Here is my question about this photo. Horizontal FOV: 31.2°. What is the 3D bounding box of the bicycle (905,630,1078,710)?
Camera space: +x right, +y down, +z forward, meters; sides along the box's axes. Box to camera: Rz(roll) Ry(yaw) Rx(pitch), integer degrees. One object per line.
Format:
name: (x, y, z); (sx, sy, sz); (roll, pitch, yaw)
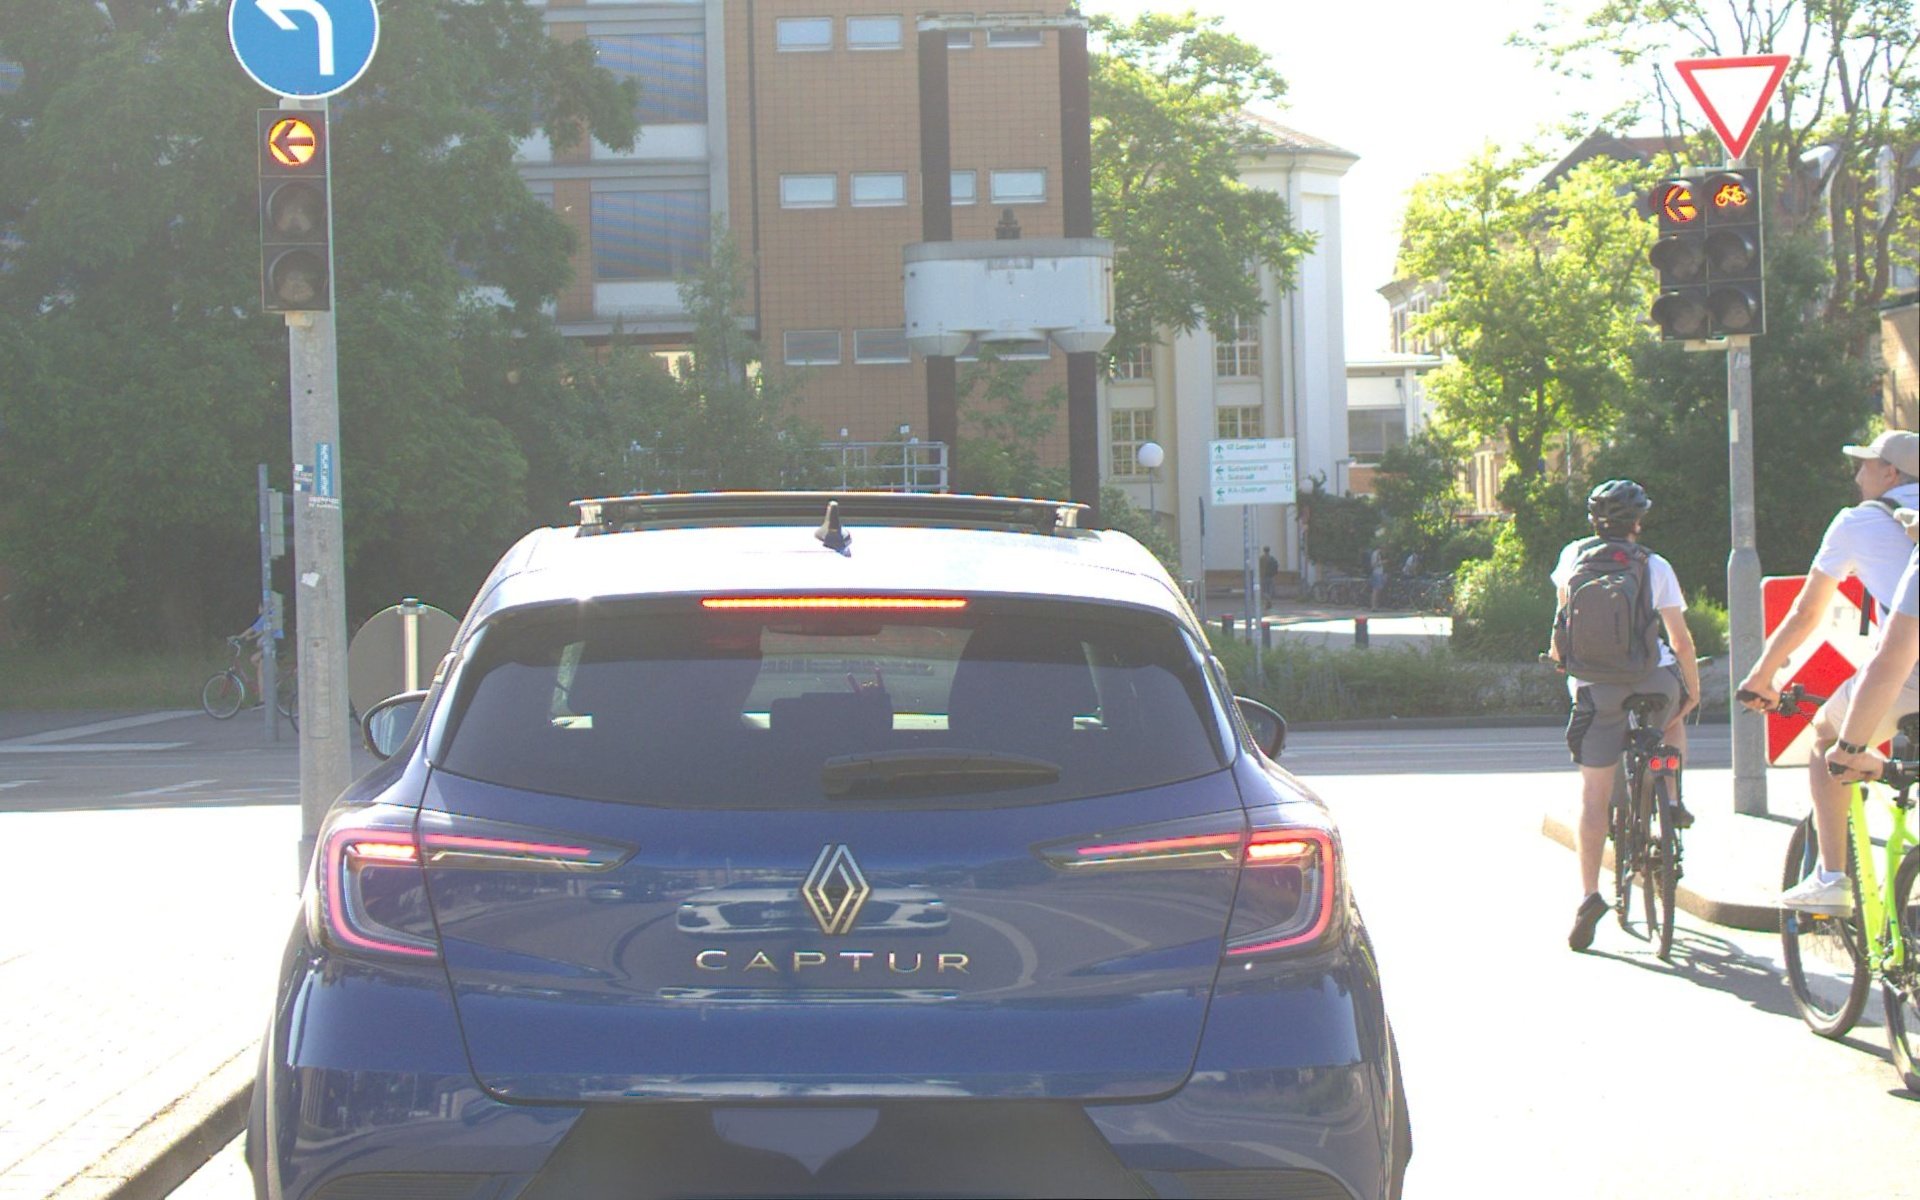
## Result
bicycle: (0.401, 0.887, 43.802); (2.082, 0.927, 0.696); (-2, 2, 11)

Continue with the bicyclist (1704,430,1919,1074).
bicyclist: (2.620, 0.408, 9.814); (0.645, 1.733, 1.067); (1, 0, -6)

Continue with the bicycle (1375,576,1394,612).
bicycle: (11.610, -0.169, 94.040); (0.405, 0.969, 1.683); (1, 1, 4)

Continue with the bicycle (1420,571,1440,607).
bicycle: (12.913, -0.298, 94.420); (0.405, 0.969, 1.683); (1, 1, 4)

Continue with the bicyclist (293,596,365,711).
bicyclist: (-8.036, 0.675, 43.790); (0.737, 1.436, 0.598); (-2, 1, -27)

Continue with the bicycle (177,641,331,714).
bicycle: (-9.764, 1.071, 47.535); (2.078, 0.961, 0.598); (-1, 1, 21)

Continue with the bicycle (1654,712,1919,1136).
bicycle: (2.610, 0.867, 9.825); (0.659, 0.999, 1.970); (1, 1, -6)

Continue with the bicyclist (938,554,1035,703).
bicyclist: (0.340, 0.360, 43.819); (1.102, 1.861, 0.652); (-1, 1, 10)

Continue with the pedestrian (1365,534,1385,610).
pedestrian: (10.977, -0.751, 91.046); (0.475, 2.007, 0.523); (-1, 1, 6)

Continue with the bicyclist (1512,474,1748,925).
bicyclist: (2.506, 0.356, 12.949); (0.726, 1.623, 0.969); (1, 0, 4)

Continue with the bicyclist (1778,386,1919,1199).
bicyclist: (2.230, 0.411, 7.248); (0.751, 1.663, 1.016); (1, 0, 1)

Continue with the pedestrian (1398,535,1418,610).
pedestrian: (12.034, -0.750, 92.398); (0.475, 2.007, 0.468); (-1, 1, 6)

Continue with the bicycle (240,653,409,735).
bicycle: (-8.084, 1.189, 43.773); (2.005, 0.961, 0.598); (-2, 1, -27)

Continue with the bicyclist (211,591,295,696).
bicyclist: (-9.775, 0.606, 47.532); (0.937, 1.424, 0.598); (-1, 1, 21)

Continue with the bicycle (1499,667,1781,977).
bicycle: (2.508, 0.783, 12.905); (0.739, 0.992, 2.173); (1, 1, 3)

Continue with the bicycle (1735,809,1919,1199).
bicycle: (2.226, 0.963, 7.260); (0.740, 0.893, 1.978); (1, 1, 1)

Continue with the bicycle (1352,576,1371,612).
bicycle: (10.988, -0.178, 94.084); (0.405, 0.969, 1.683); (1, 1, 4)

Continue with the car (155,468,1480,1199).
car: (-0.270, 0.615, 6.700); (1.803, 1.626, 4.000); (0, 1, -2)

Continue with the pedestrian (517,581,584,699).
pedestrian: (-5.652, 0.552, 47.454); (0.737, 1.598, 0.598); (-1, 1, 12)

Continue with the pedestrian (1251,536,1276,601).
pedestrian: (8.685, -0.904, 98.339); (0.623, 1.849, 0.563); (-1, 1, 1)
